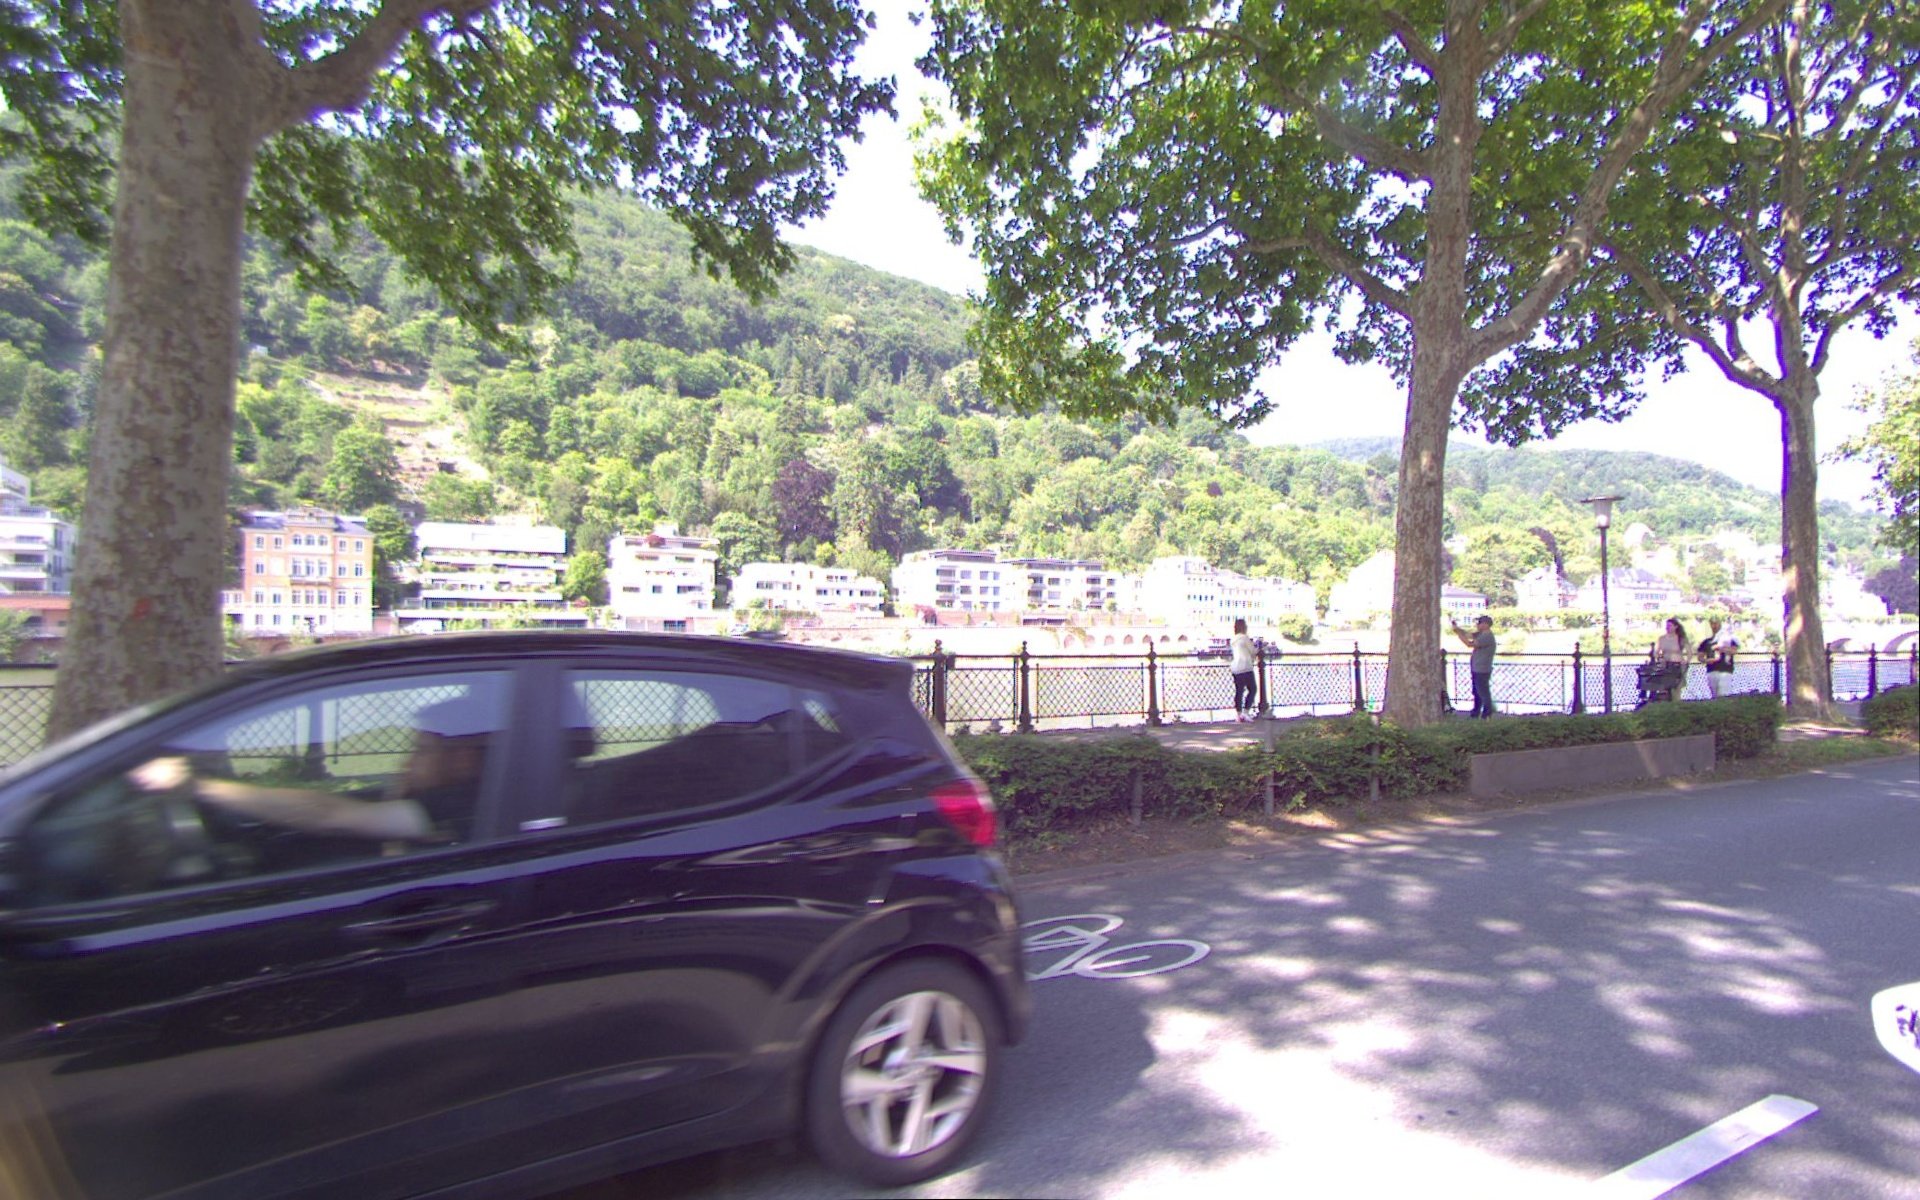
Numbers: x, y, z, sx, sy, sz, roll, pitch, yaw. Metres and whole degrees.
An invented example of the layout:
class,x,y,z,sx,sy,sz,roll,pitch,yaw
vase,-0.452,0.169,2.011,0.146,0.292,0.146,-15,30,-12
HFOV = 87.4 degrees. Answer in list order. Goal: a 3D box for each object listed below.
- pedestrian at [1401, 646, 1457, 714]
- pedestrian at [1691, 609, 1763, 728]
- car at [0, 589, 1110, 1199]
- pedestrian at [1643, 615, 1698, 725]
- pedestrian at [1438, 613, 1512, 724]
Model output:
class,x,y,z,sx,sy,sz,roll,pitch,yaw
pedestrian,8.386,1.416,17.974,0.687,1.193,0.607,1,-3,-29
pedestrian,12.650,1.115,16.573,0.796,1.894,0.638,1,-3,-29
car,-1.571,0.776,2.689,3.736,1.488,1.642,2,-3,-31
pedestrian,11.892,1.165,16.824,0.585,1.791,0.514,1,-3,-29
pedestrian,8.426,1.106,16.437,0.864,1.740,0.689,2,0,-31
